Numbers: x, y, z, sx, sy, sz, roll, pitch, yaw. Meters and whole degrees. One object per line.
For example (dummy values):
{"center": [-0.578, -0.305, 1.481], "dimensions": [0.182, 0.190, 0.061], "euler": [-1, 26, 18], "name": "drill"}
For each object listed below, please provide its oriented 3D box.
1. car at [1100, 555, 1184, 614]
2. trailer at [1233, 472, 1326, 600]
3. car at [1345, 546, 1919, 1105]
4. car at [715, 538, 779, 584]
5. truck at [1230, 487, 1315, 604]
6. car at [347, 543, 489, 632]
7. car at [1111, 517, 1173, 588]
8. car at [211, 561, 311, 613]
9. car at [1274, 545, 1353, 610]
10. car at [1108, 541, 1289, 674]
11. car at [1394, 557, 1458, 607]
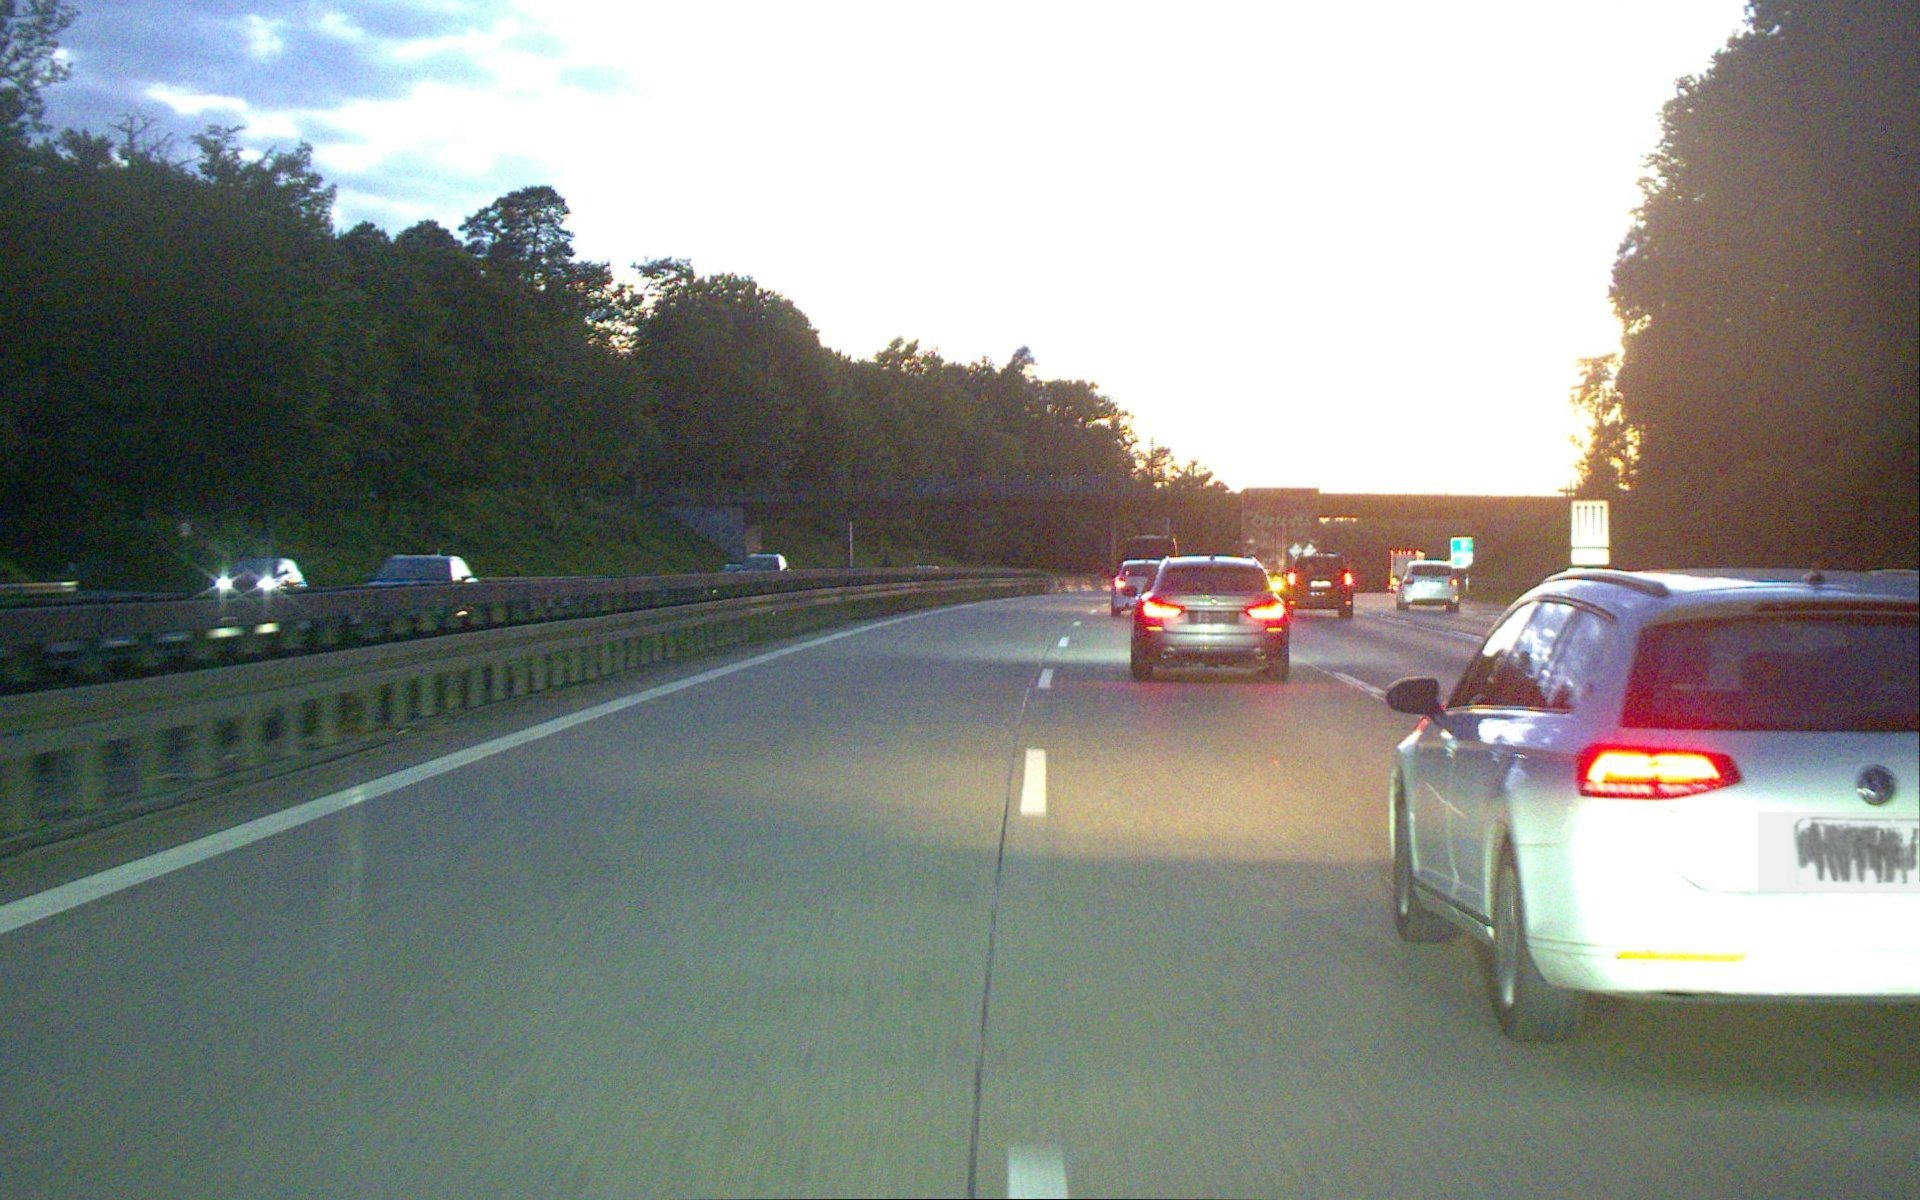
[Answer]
{"center": [4.617, -0.404, 87.762], "dimensions": [1.859, 1.437, 3.721], "euler": [0, 1, -1], "name": "car"}
{"center": [11.113, -2.138, 120.325], "dimensions": [2.907, 4.087, 10.355], "euler": [1, -1, 4], "name": "trailer"}
{"center": [2.507, 0.571, 11.826], "dimensions": [1.809, 1.461, 5.132], "euler": [0, 1, 0], "name": "car"}
{"center": [-8.145, -1.498, 131.612], "dimensions": [1.994, 1.699, 4.550], "euler": [1, 1, 2], "name": "car"}
{"center": [11.829, -1.981, 130.865], "dimensions": [2.885, 4.087, 10.829], "euler": [1, -1, 4], "name": "truck"}
{"center": [-10.137, -0.260, 64.595], "dimensions": [1.993, 1.595, 4.822], "euler": [0, 1, -1], "name": "car"}
{"center": [6.648, -1.716, 125.517], "dimensions": [2.166, 2.411, 5.563], "euler": [1, -1, 3], "name": "car"}
{"center": [-20.972, -0.412, 103.276], "dimensions": [1.851, 1.491, 4.594], "euler": [0, 1, 3], "name": "car"}
{"center": [9.186, -0.565, 89.091], "dimensions": [1.903, 1.638, 5.050], "euler": [1, 0, 7], "name": "car"}
{"center": [2.874, 0.037, 42.465], "dimensions": [1.909, 1.532, 5.231], "euler": [0, 1, 0], "name": "car"}
{"center": [14.394, -0.541, 106.004], "dimensions": [1.860, 1.437, 4.110], "euler": [0, -1, 9], "name": "car"}
